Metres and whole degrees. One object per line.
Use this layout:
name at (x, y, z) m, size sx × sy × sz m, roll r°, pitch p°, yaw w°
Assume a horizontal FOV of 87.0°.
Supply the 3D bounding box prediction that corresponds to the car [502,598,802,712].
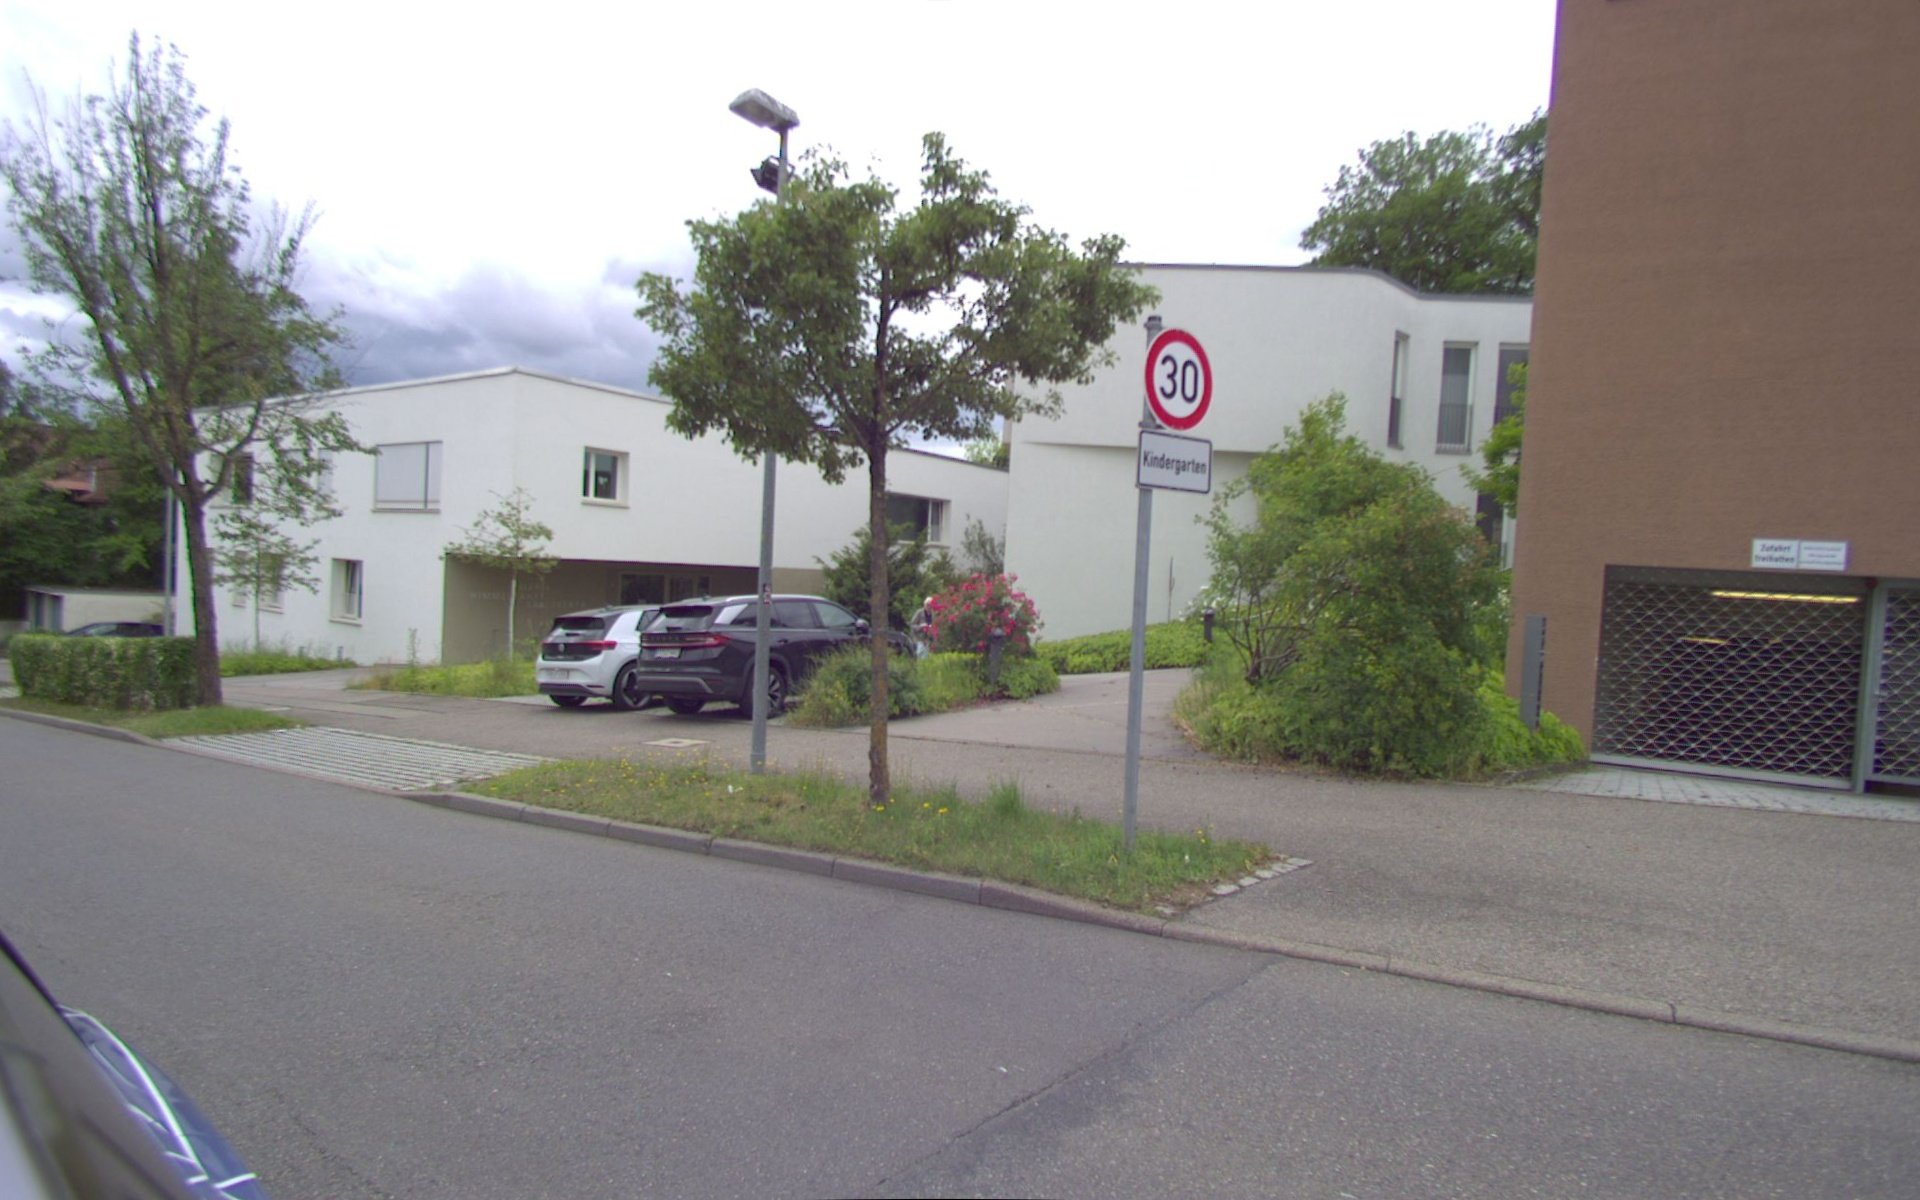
car at (-4.796, 0.828, 16.378) m, size 2.061 × 1.578 × 4.350 m, roll -1°, pitch -2°, yaw 34°

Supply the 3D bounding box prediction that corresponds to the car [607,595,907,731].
car at (-2.791, 0.790, 14.644) m, size 2.004 × 1.666 × 3.951 m, roll -1°, pitch -1°, yaw 36°

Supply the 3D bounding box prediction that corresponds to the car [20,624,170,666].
car at (-30.301, 1.542, 35.521) m, size 1.739 × 1.364 × 3.757 m, roll -1°, pitch -1°, yaw 39°

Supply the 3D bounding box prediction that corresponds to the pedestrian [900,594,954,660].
pedestrian at (-0.657, 0.532, 20.420) m, size 0.897 × 1.293 × 0.602 m, roll -1°, pitch 0°, yaw 35°
